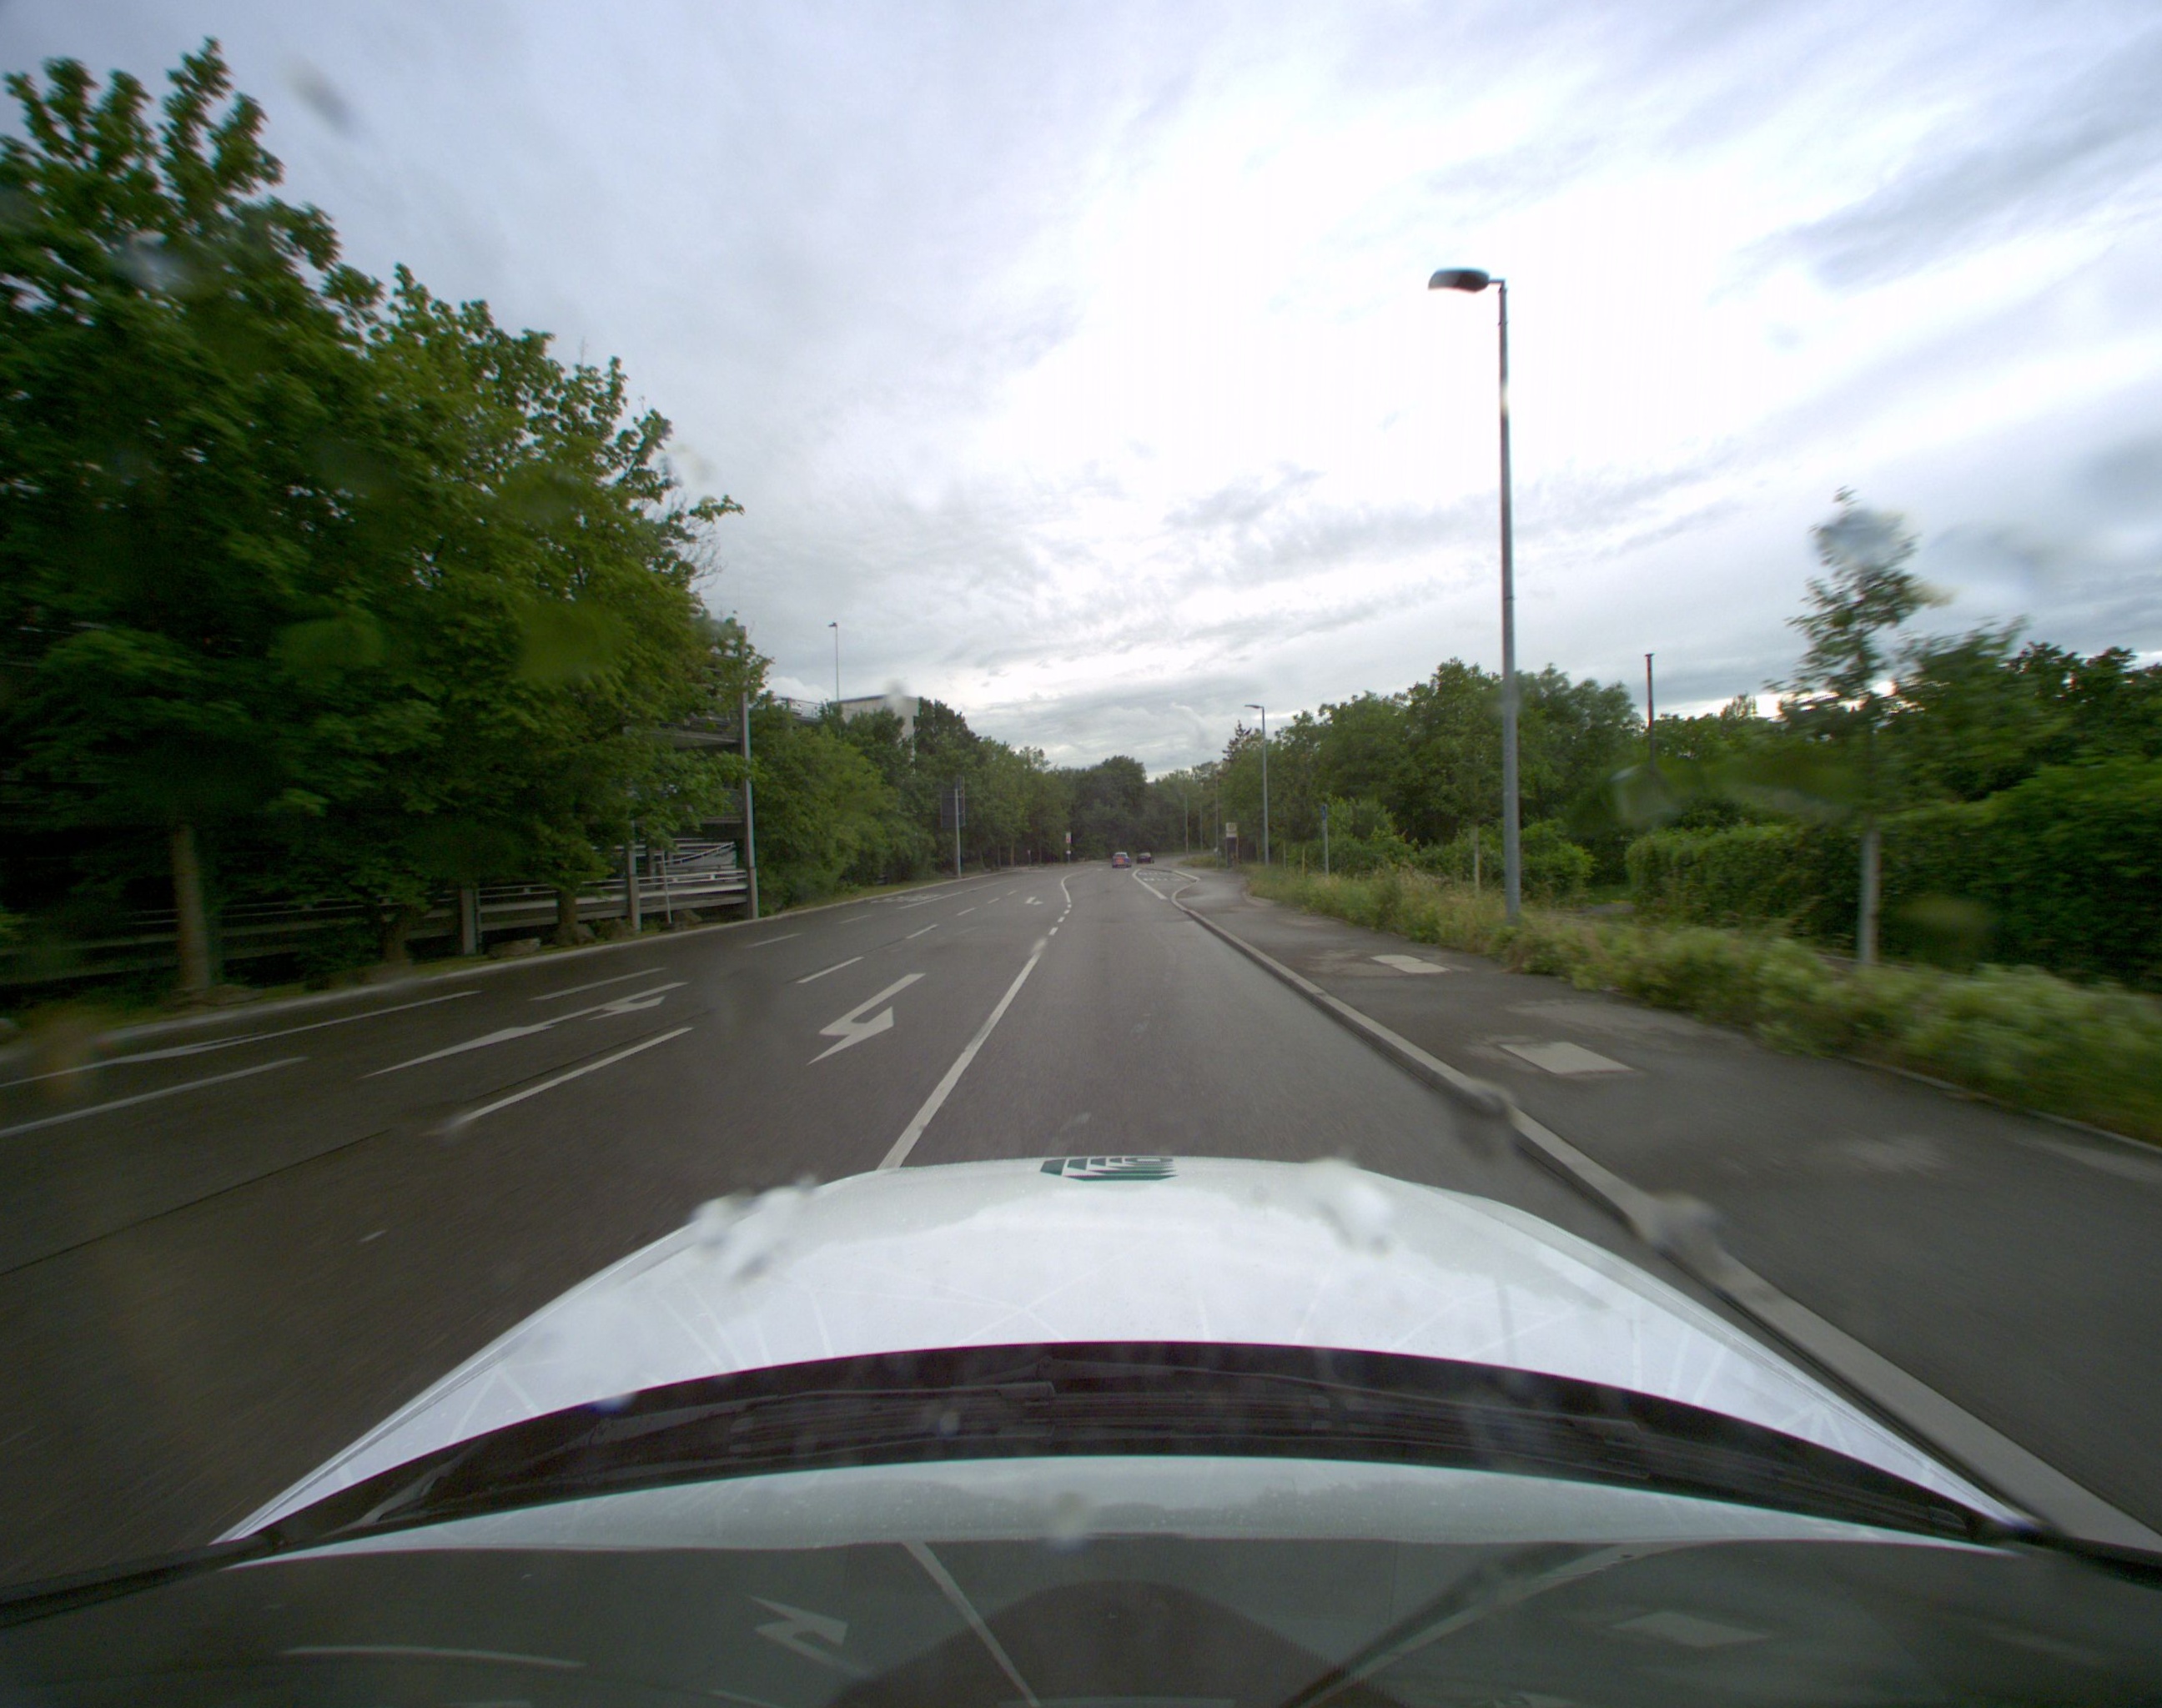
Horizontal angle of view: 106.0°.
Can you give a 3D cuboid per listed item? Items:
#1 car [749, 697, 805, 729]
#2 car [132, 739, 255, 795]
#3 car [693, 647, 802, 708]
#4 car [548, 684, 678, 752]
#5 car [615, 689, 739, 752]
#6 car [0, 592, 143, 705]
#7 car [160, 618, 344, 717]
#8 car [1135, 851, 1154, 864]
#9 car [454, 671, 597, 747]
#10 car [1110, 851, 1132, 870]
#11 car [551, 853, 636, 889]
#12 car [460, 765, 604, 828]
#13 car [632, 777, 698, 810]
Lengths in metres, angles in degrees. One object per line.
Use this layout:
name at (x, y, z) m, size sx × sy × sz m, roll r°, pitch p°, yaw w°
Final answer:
car at (-20.351, -9.423, 54.459) m, size 3.204 × 1.519 × 1.595 m, roll -3°, pitch 0°, yaw 23°
car at (-32.447, -3.115, 29.765) m, size 3.949 × 1.519 × 2.012 m, roll -3°, pitch 0°, yaw 27°
car at (-13.449, -7.035, 32.815) m, size 3.948 × 1.519 × 2.013 m, roll -3°, pitch 0°, yaw 30°
car at (-15.711, -4.476, 27.332) m, size 3.948 × 1.519 × 2.013 m, roll -3°, pitch 0°, yaw 30°
car at (-14.459, -4.702, 29.131) m, size 3.948 × 1.519 × 2.013 m, roll -3°, pitch 0°, yaw 30°
car at (-21.015, -4.054, 16.402) m, size 3.949 × 1.519 × 2.013 m, roll 1°, pitch 2°, yaw 30°
car at (-19.201, -4.209, 18.857) m, size 3.949 × 1.519 × 2.013 m, roll 1°, pitch 2°, yaw 30°
car at (8.269, 0.434, 105.415) m, size 1.915 × 1.486 × 3.811 m, roll -3°, pitch 2°, yaw 11°
car at (-16.977, -4.339, 24.859) m, size 3.948 × 1.519 × 2.013 m, roll -3°, pitch 0°, yaw 30°
car at (4.215, 0.644, 85.406) m, size 1.983 × 1.689 × 4.009 m, roll -3°, pitch 2°, yaw 7°
car at (-22.469, 0.781, 37.563) m, size 3.432 × 1.519 × 1.595 m, roll -2°, pitch 0°, yaw 23°
car at (-16.680, -1.665, 24.730) m, size 3.948 × 1.519 × 2.013 m, roll -3°, pitch 0°, yaw 30°
car at (-23.819, -3.434, 46.642) m, size 3.204 × 1.519 × 1.595 m, roll -3°, pitch 0°, yaw 23°
